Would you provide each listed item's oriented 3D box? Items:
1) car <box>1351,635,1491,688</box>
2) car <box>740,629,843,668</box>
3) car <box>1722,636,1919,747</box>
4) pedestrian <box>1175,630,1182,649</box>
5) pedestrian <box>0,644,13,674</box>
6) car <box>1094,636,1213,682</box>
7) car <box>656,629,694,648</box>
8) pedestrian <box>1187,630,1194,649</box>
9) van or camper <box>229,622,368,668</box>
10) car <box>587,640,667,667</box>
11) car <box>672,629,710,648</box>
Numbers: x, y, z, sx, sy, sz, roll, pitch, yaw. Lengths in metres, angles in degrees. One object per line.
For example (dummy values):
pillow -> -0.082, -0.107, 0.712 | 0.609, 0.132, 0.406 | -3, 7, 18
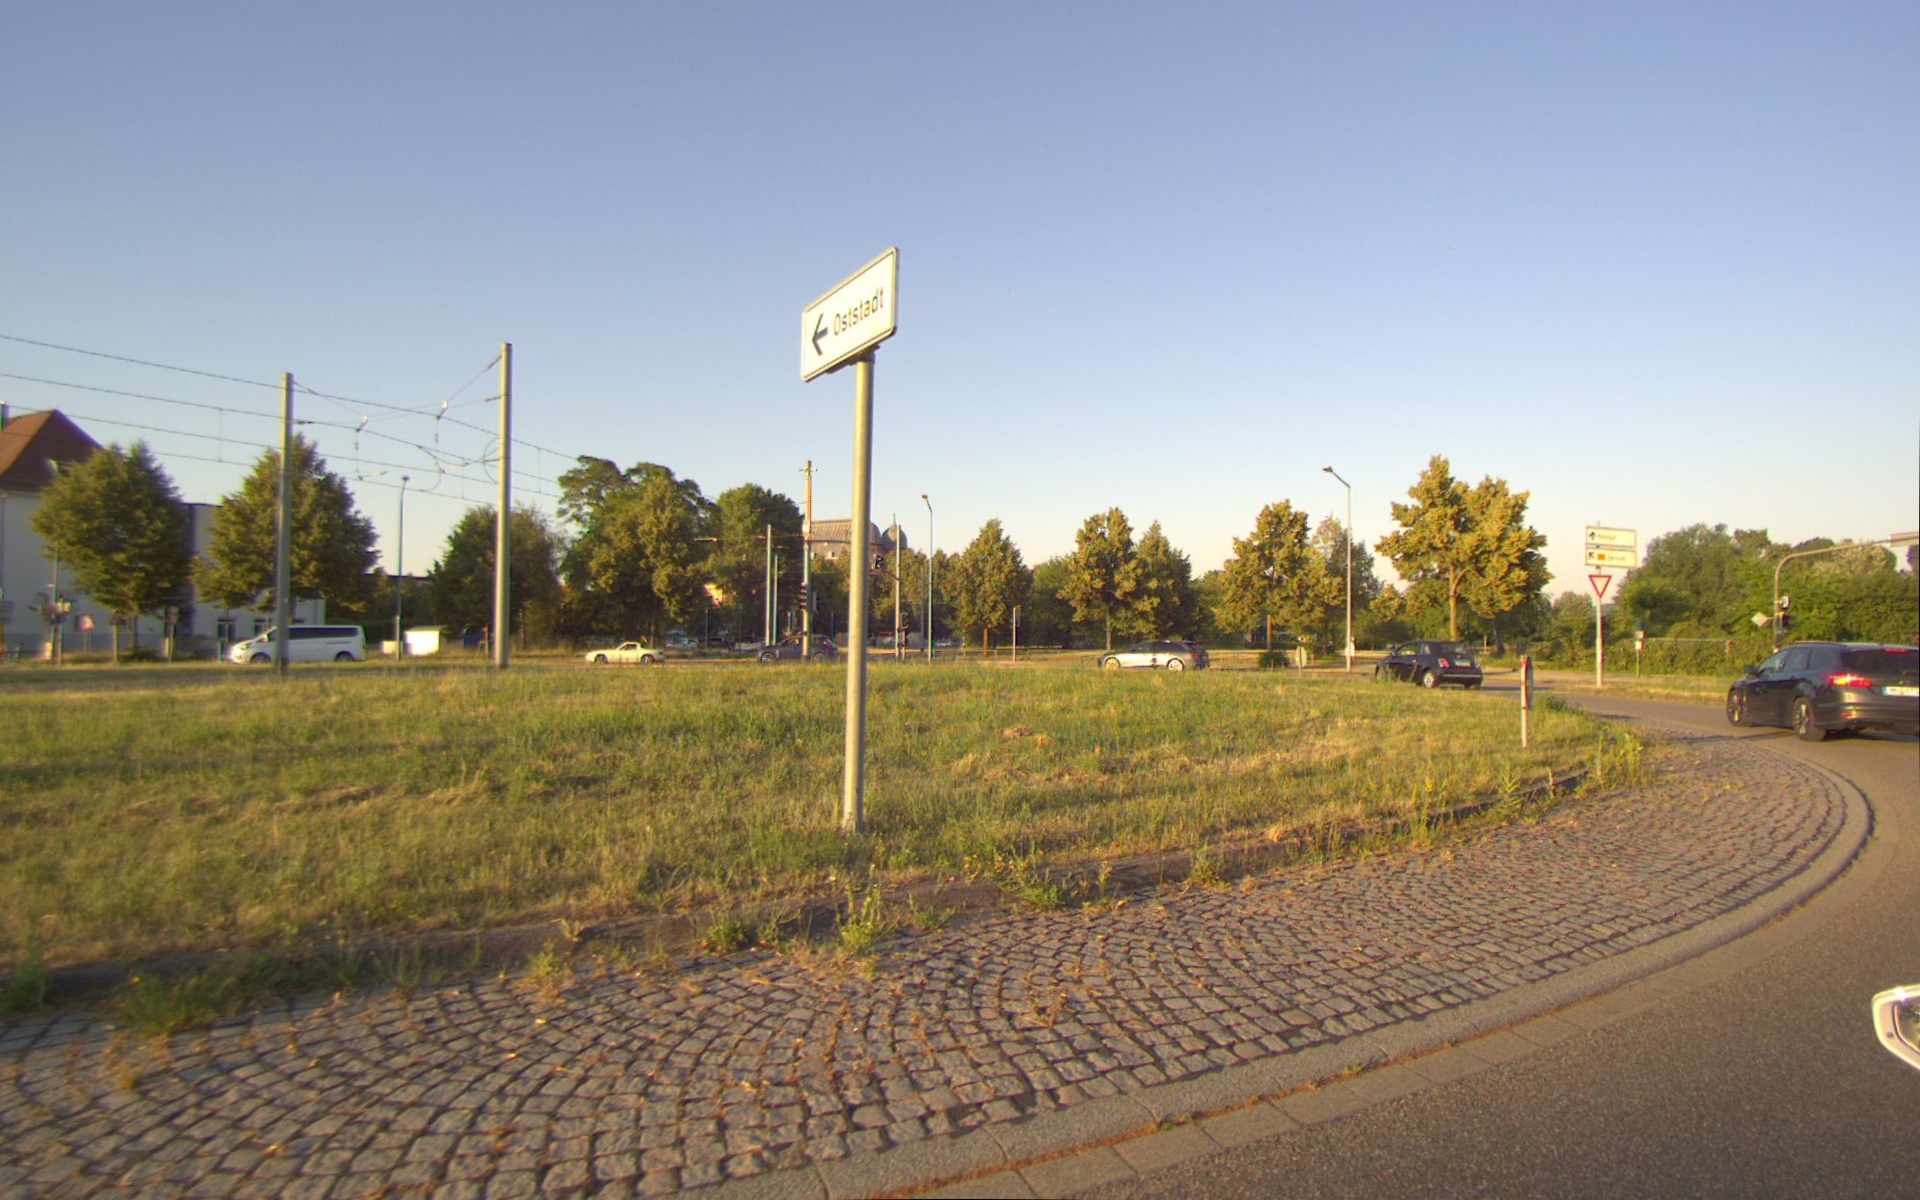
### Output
car -> 14.102, 1.847, 30.990 | 1.722, 1.465, 4.123 | 0, -1, -15
car -> -7.947, 2.283, 47.650 | 4.505, 1.771, 1.752 | 0, -1, 3
car -> 13.738, 1.324, 15.800 | 1.717, 1.486, 4.134 | 0, -2, 22
pedestrian -> 19.719, 3.573, 90.620 | 0.569, 1.648, 0.533 | 0, -2, 11
pedestrian -> -52.650, 3.226, 55.249 | 0.555, 1.643, 0.594 | 0, -1, 21
car -> 7.986, 2.412, 41.560 | 4.517, 1.771, 1.748 | -1, -2, 31
car -> -33.272, 4.518, 117.406 | 3.925, 2.126, 1.999 | 0, -2, 25
pedestrian -> 20.752, 3.551, 90.353 | 0.608, 1.648, 0.531 | 0, -2, 14
van or camper -> -31.007, 2.055, 47.203 | 5.261, 2.036, 1.892 | 1, -1, -41
car -> -16.906, 2.735, 51.118 | 3.715, 1.272, 1.575 | 1, -1, -13
car -> -32.086, 4.570, 119.786 | 3.925, 2.126, 1.999 | 0, -2, 25
